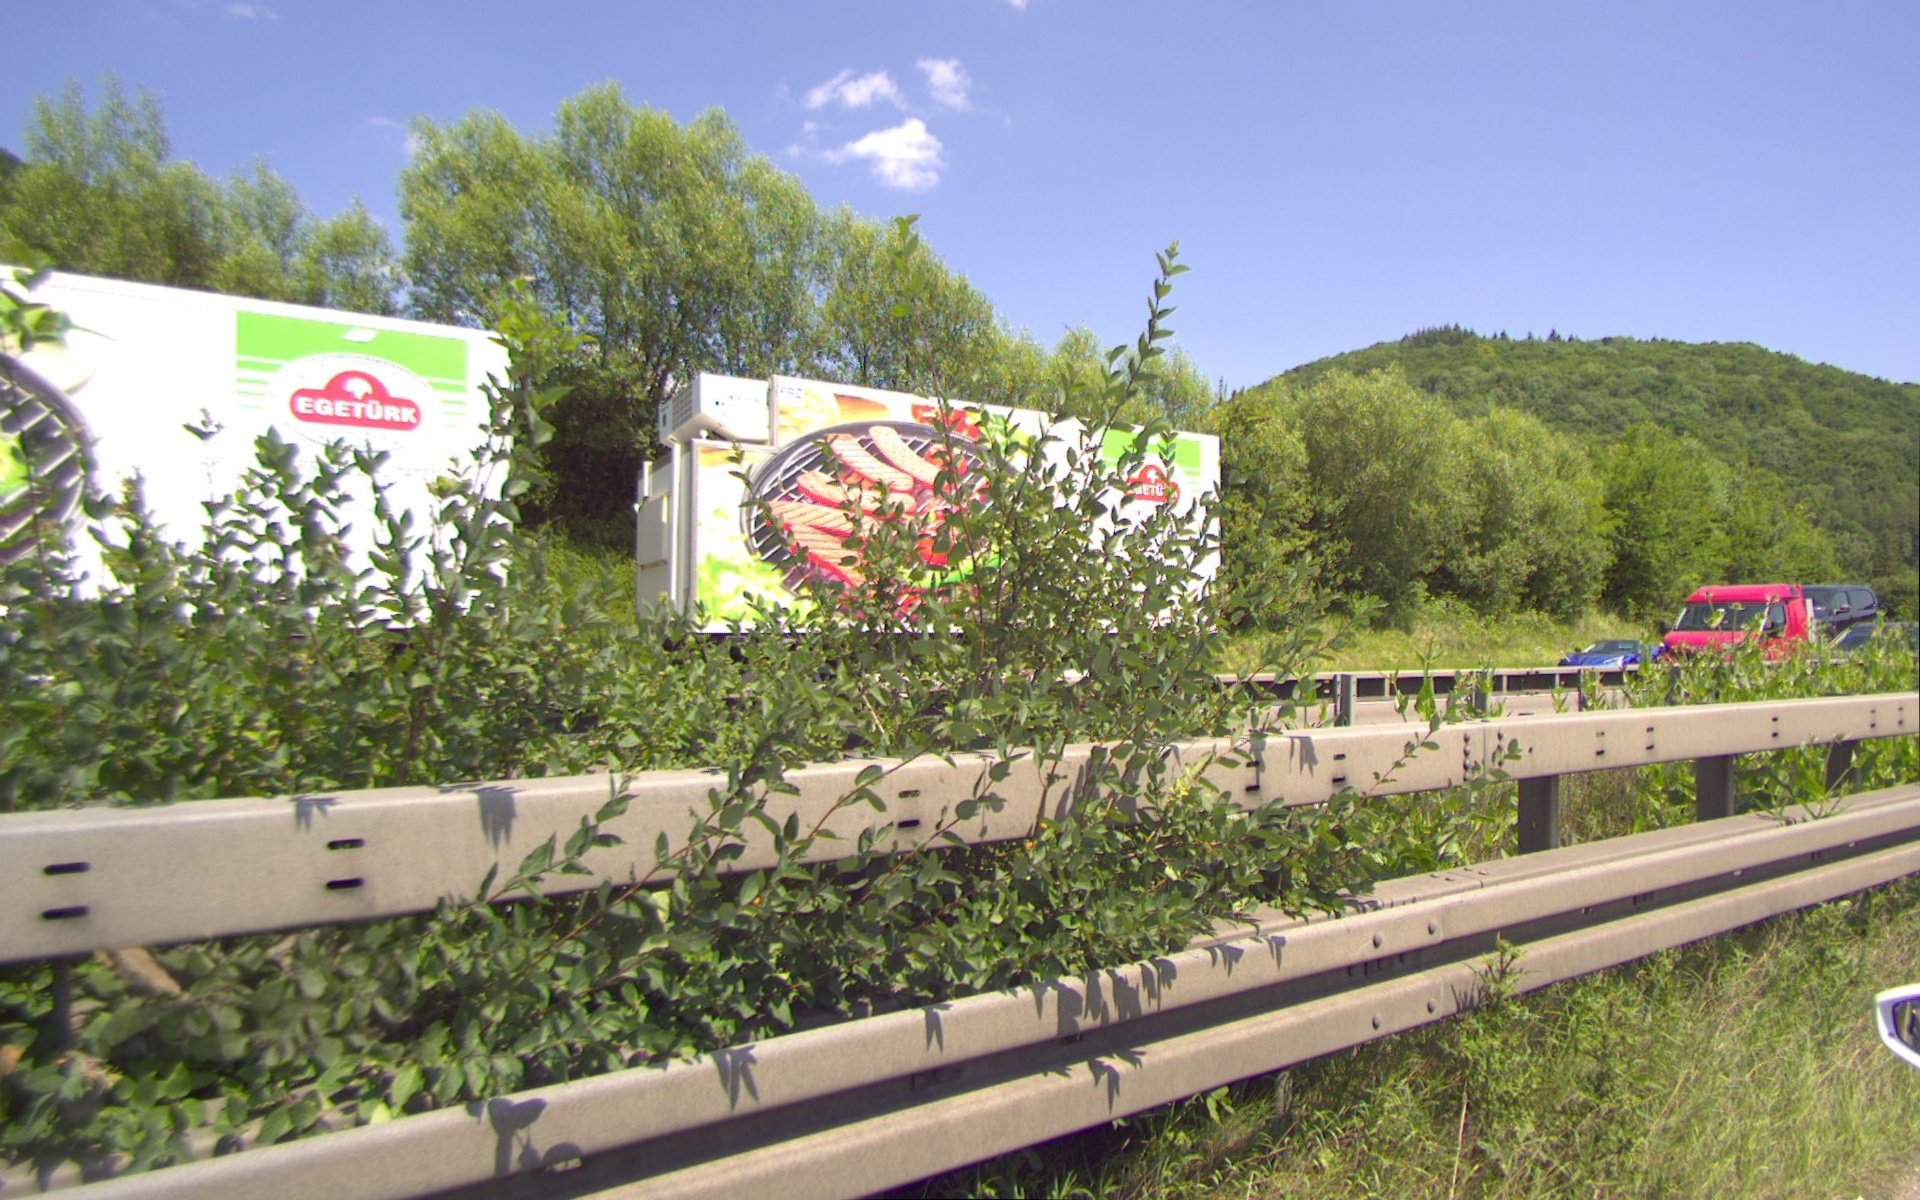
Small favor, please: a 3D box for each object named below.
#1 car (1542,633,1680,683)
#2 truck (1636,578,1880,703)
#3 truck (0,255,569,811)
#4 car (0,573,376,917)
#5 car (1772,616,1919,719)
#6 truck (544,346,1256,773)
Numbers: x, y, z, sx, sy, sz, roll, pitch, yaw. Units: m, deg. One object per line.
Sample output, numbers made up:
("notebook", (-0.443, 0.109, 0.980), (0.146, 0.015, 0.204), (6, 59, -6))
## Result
("car", (19.756, 1.702, 30.459), (4.061, 1.374, 1.983), (1, -1, -32))
("truck", (19.333, 0.904, 24.150), (7.884, 2.623, 2.282), (1, 0, -34))
("truck", (-8.685, -0.517, 7.992), (10.054, 4.060, 2.855), (1, 0, -31))
("car", (-5.944, 0.676, 5.227), (4.972, 1.663, 1.984), (1, 0, -30))
("car", (16.320, 1.128, 17.825), (3.955, 1.620, 1.767), (1, -1, -32))
("truck", (-0.387, -0.273, 13.025), (8.927, 4.033, 2.855), (1, -2, -31))
